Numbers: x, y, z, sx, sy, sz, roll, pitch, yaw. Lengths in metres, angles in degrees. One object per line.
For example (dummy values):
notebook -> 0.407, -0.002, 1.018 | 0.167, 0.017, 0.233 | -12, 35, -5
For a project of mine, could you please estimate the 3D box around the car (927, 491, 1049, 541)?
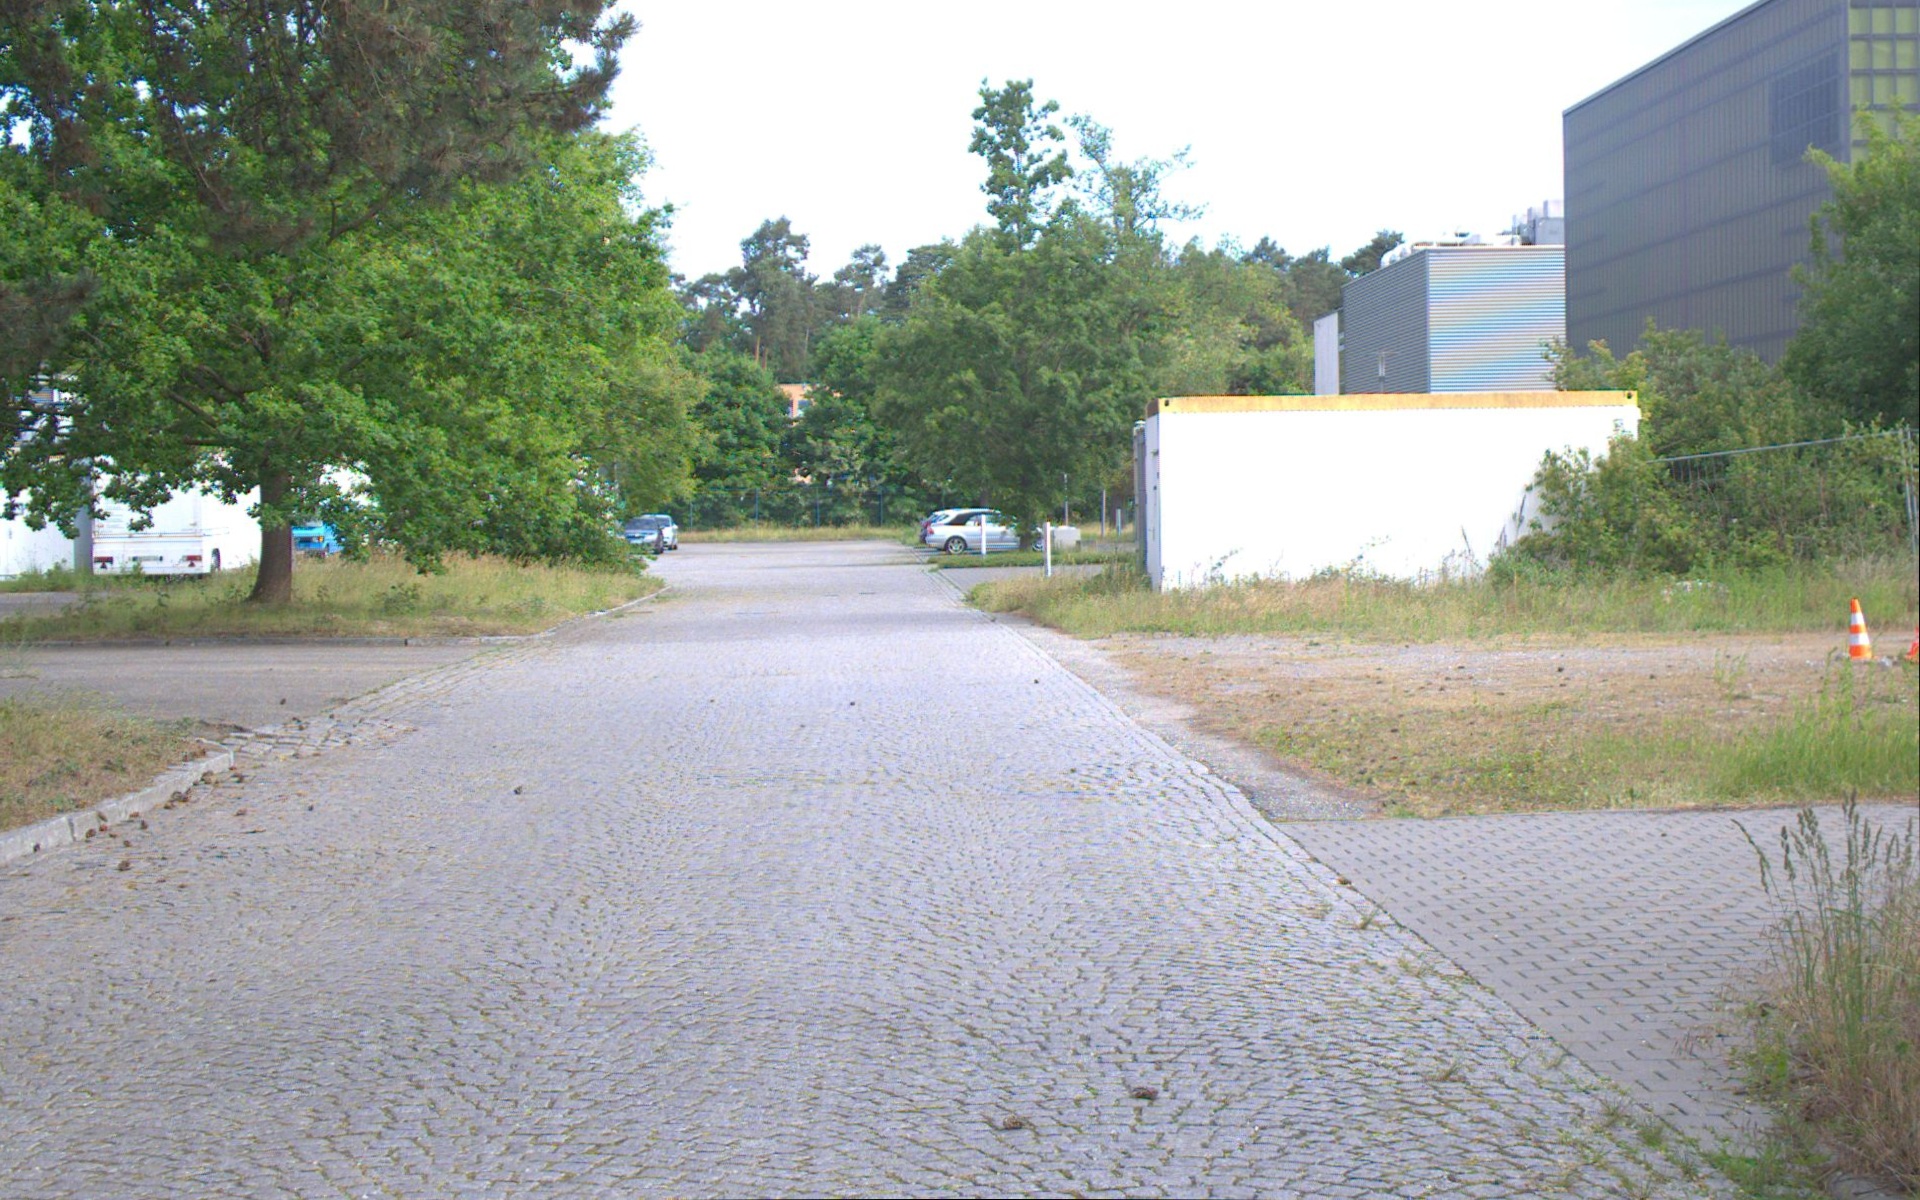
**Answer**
car -> 0.920, -2.815, 115.267 | 3.984, 1.443, 1.653 | -3, 2, -1

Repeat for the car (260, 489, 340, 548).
car -> -23.287, -2.899, 121.506 | 1.993, 2.006, 4.768 | -1, 2, -1

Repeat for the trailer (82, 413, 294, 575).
trailer -> -18.222, -2.512, 81.812 | 2.625, 3.585, 10.178 | -1, 2, 0

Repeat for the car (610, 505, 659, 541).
car -> -12.645, -3.017, 133.806 | 1.647, 1.364, 3.998 | -1, 2, -2

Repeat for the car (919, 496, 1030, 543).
car -> 0.469, -2.652, 112.563 | 3.522, 1.357, 1.623 | -3, 2, -1

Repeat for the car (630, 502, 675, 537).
car -> -12.884, -3.383, 144.141 | 1.647, 1.453, 3.998 | -1, 2, -2
